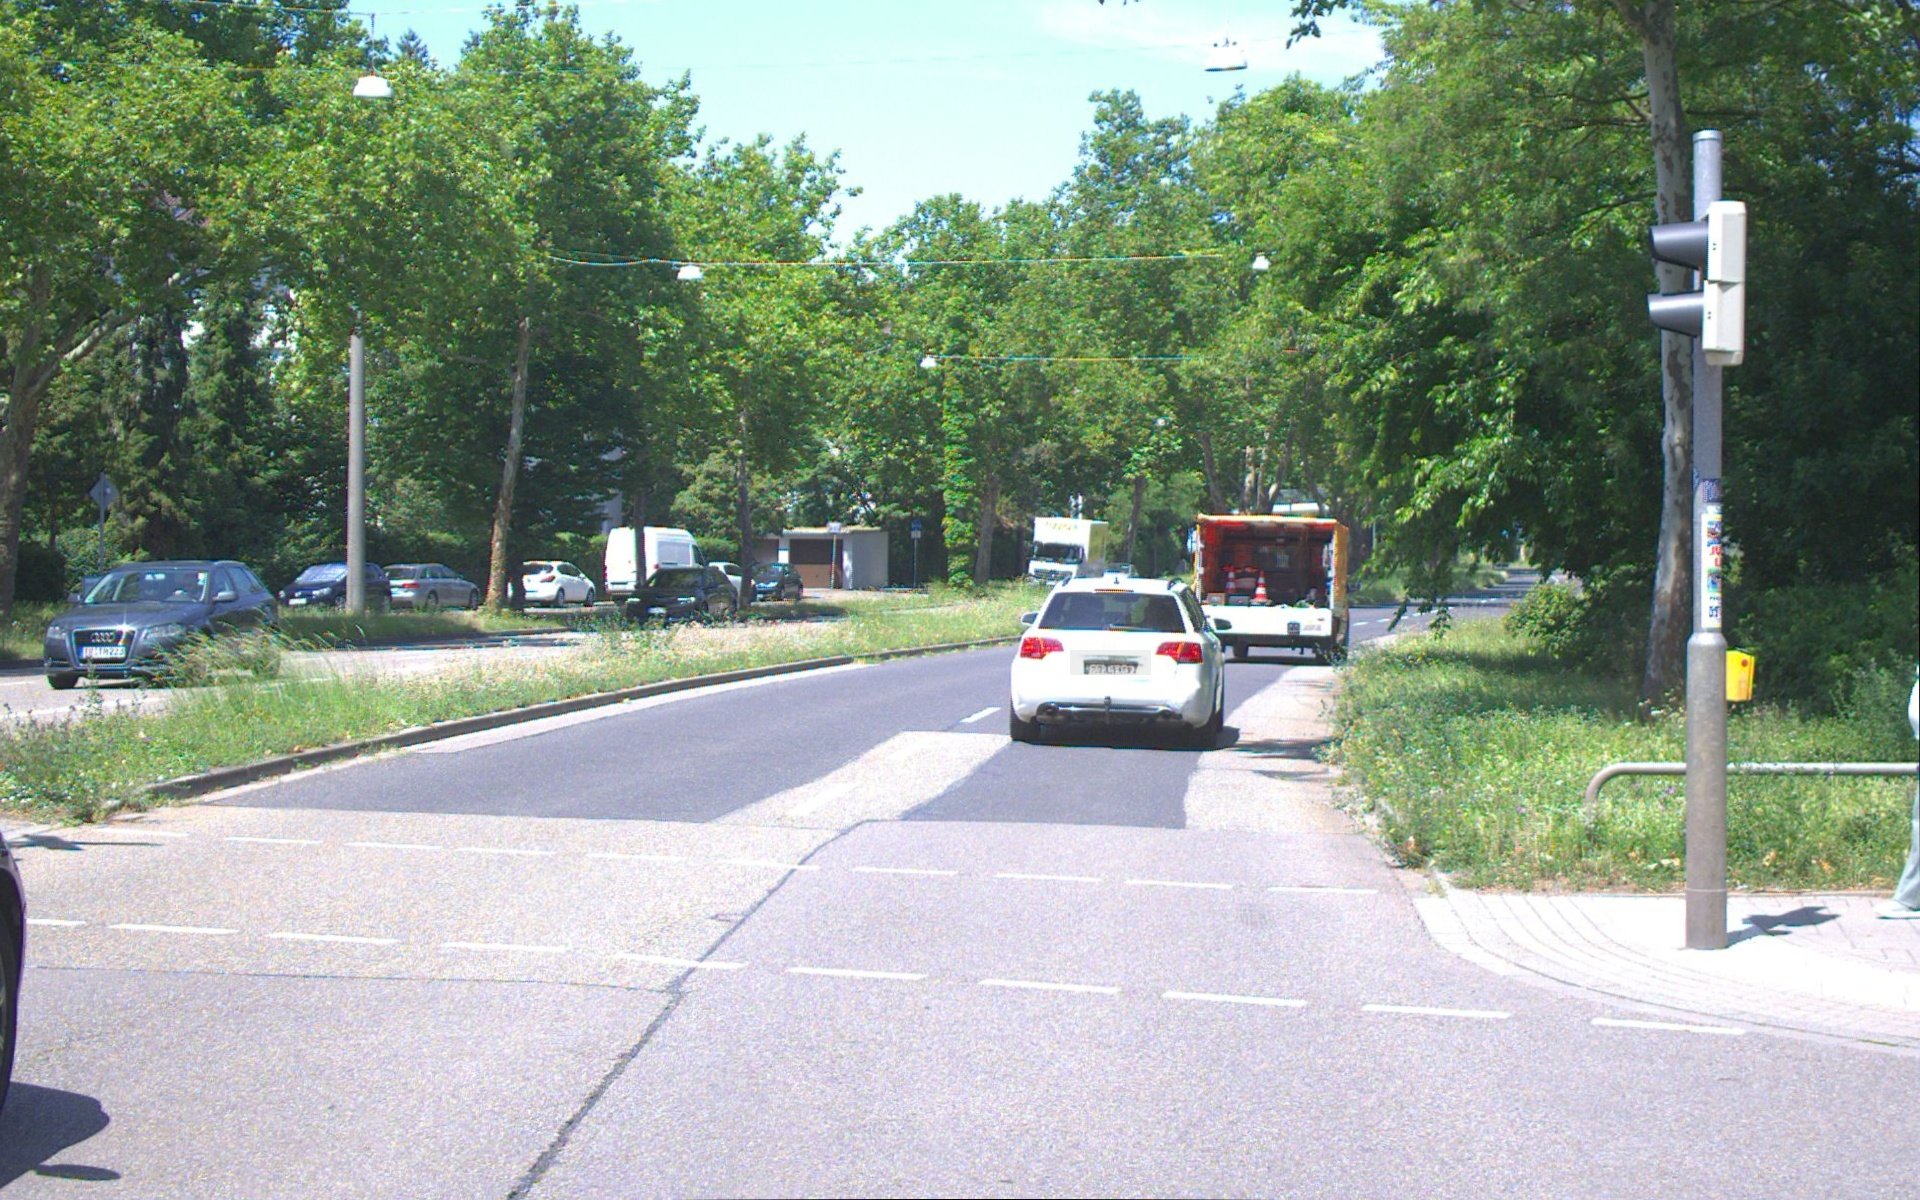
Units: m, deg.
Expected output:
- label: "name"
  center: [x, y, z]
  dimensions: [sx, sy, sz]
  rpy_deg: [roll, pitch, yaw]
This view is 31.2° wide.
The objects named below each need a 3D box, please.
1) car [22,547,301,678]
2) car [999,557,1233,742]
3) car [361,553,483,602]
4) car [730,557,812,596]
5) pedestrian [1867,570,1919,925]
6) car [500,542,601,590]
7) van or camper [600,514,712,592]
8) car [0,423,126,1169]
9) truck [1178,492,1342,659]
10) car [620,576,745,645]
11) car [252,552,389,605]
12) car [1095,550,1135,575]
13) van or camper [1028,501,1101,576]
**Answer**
- label: "car"
  center: [-9.076, 0.117, 39.424]
  dimensions: [1.736, 1.390, 4.177]
  rpy_deg: [-1, 0, 7]
- label: "car"
  center: [1.426, 0.384, 30.158]
  dimensions: [1.763, 1.440, 3.615]
  rpy_deg: [3, 1, 6]
- label: "car"
  center: [-15.473, -0.663, 99.115]
  dimensions: [1.883, 1.371, 3.997]
  rpy_deg: [1, 1, 18]
- label: "car"
  center: [-7.106, -0.900, 129.913]
  dimensions: [1.830, 1.386, 3.944]
  rpy_deg: [1, 1, 17]
- label: "pedestrian"
  center: [4.191, 0.616, 14.659]
  dimensions: [0.553, 1.479, 0.629]
  rpy_deg: [1, 1, 10]
- label: "car"
  center: [-12.930, -1.084, 108.661]
  dimensions: [1.883, 1.469, 3.998]
  rpy_deg: [1, 1, 13]
- label: "van or camper"
  center: [-10.373, -1.610, 117.818]
  dimensions: [2.184, 2.578, 5.305]
  rpy_deg: [1, 1, 14]
- label: "car"
  center: [-3.257, 0.463, 6.648]
  dimensions: [1.854, 1.749, 4.648]
  rpy_deg: [2, 1, 4]
- label: "truck"
  center: [5.151, -0.503, 58.413]
  dimensions: [2.511, 2.550, 7.602]
  rpy_deg: [2, 2, 6]
- label: "car"
  center: [-6.462, 0.222, 80.545]
  dimensions: [1.813, 1.501, 4.592]
  rpy_deg: [0, 1, 10]
- label: "car"
  center: [-17.405, -0.591, 93.726]
  dimensions: [1.883, 1.388, 3.996]
  rpy_deg: [1, 1, 20]
- label: "car"
  center: [7.728, -1.880, 171.090]
  dimensions: [1.914, 1.206, 4.334]
  rpy_deg: [0, 1, 4]
- label: "van or camper"
  center: [4.779, -2.783, 156.670]
  dimensions: [2.661, 3.320, 5.498]
  rpy_deg: [1, 1, 8]
